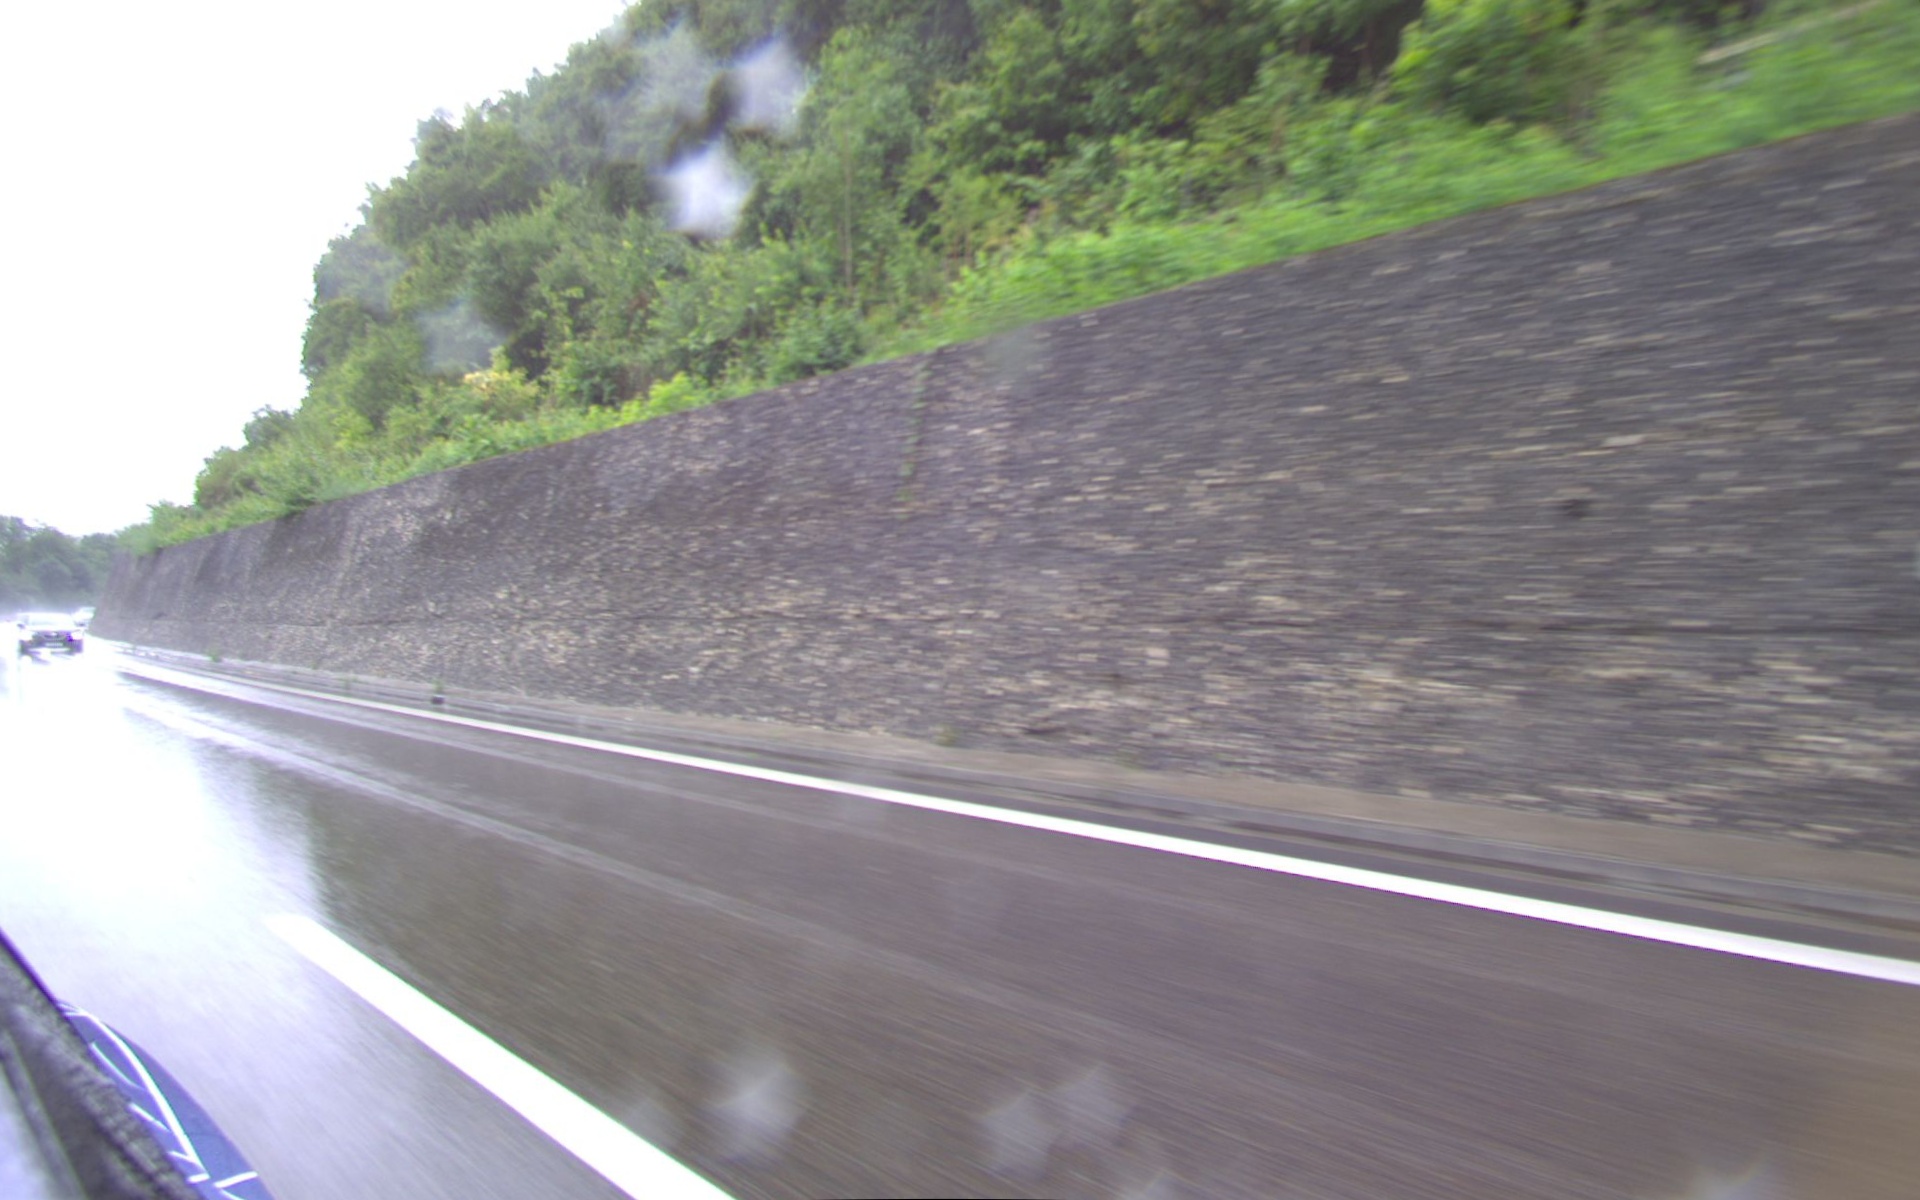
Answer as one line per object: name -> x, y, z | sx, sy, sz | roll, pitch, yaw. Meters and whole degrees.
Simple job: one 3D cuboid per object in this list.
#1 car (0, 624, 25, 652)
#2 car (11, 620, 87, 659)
car -> -51.957, 2.079, 54.768 | 1.800, 1.393, 4.006 | -2, 1, -40
car -> -34.933, 1.464, 38.782 | 3.999, 1.393, 1.803 | -1, -1, 42
